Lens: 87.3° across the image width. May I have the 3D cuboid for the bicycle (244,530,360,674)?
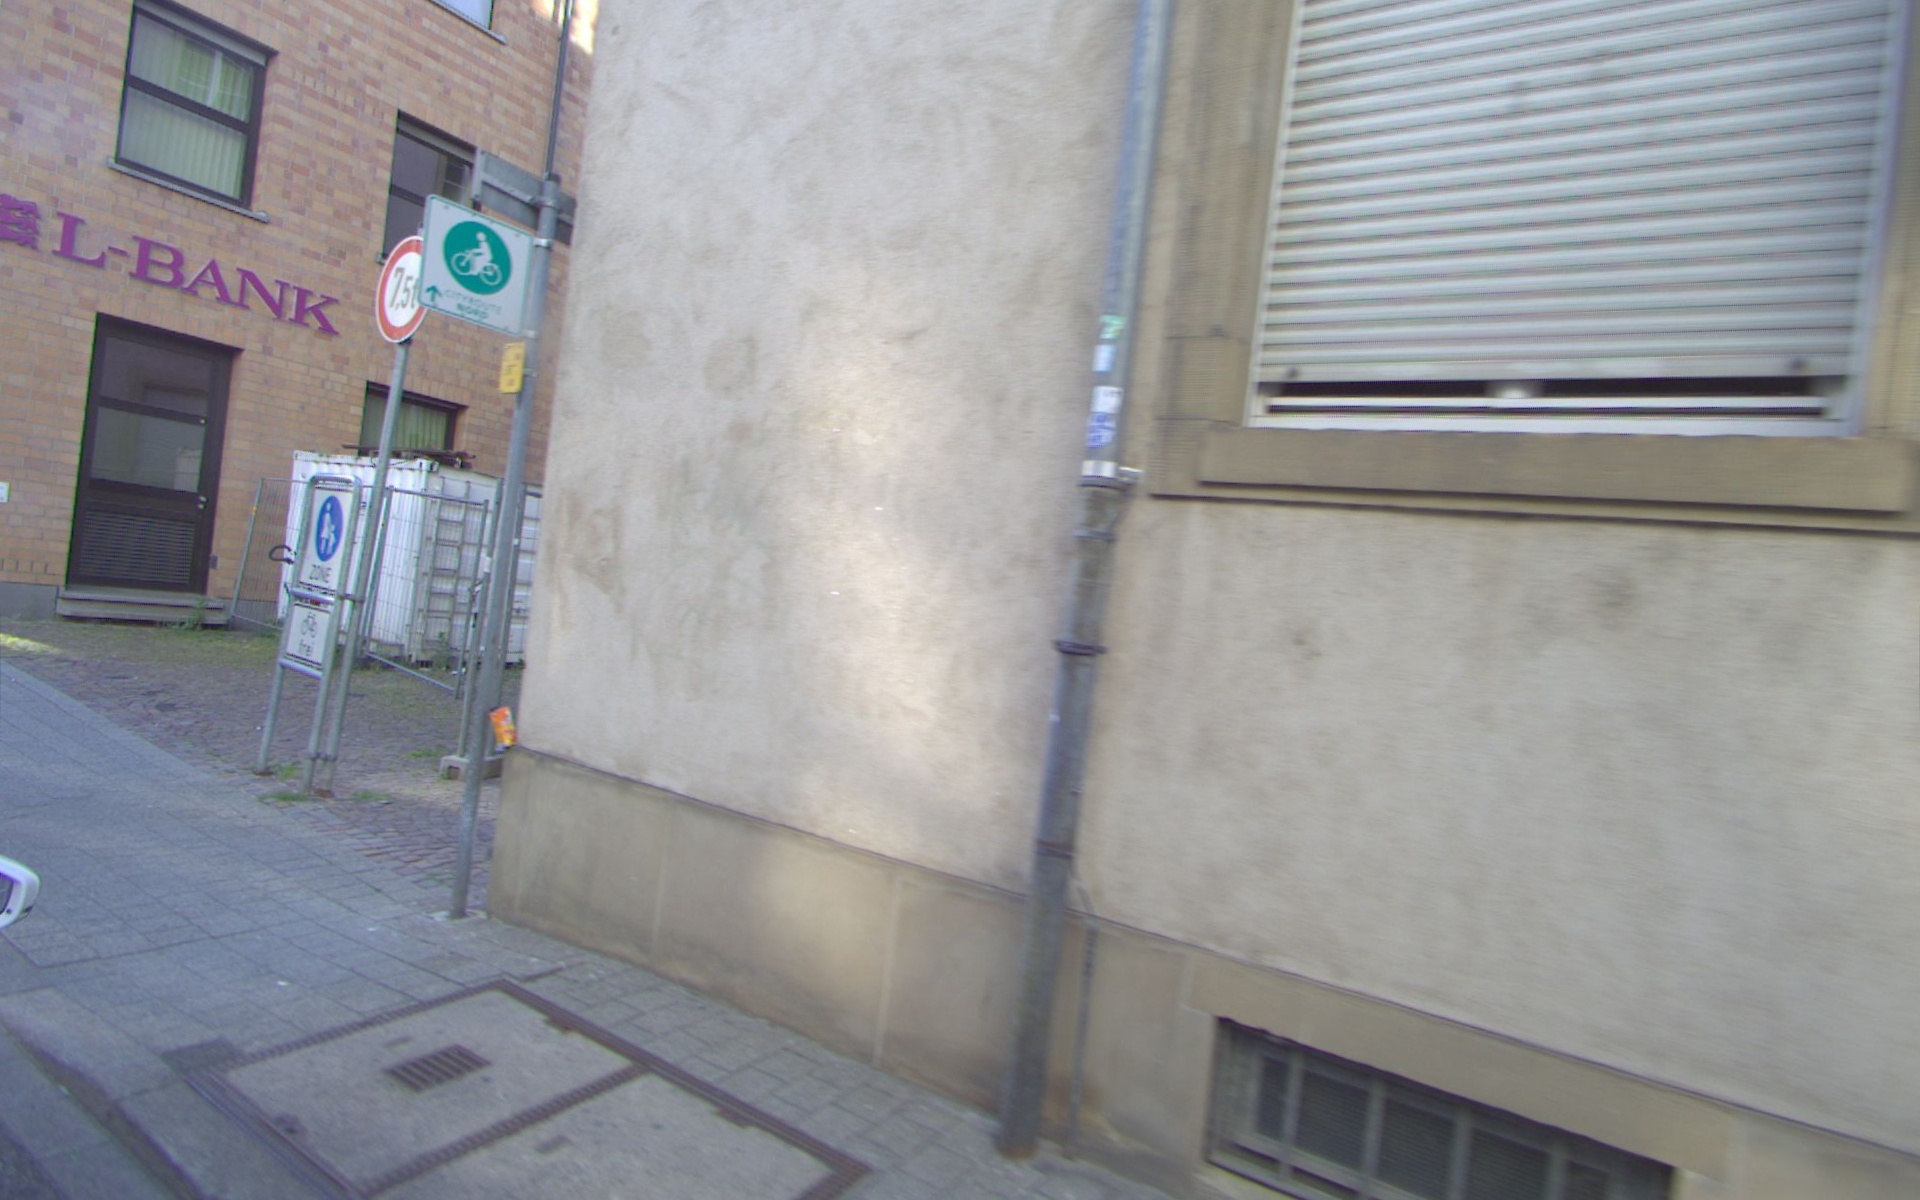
[{"bbox_3d":[-6.932,-0.005,10.562,1.625,1.333,0.549,7,1,43],"label":"bicycle"}]
